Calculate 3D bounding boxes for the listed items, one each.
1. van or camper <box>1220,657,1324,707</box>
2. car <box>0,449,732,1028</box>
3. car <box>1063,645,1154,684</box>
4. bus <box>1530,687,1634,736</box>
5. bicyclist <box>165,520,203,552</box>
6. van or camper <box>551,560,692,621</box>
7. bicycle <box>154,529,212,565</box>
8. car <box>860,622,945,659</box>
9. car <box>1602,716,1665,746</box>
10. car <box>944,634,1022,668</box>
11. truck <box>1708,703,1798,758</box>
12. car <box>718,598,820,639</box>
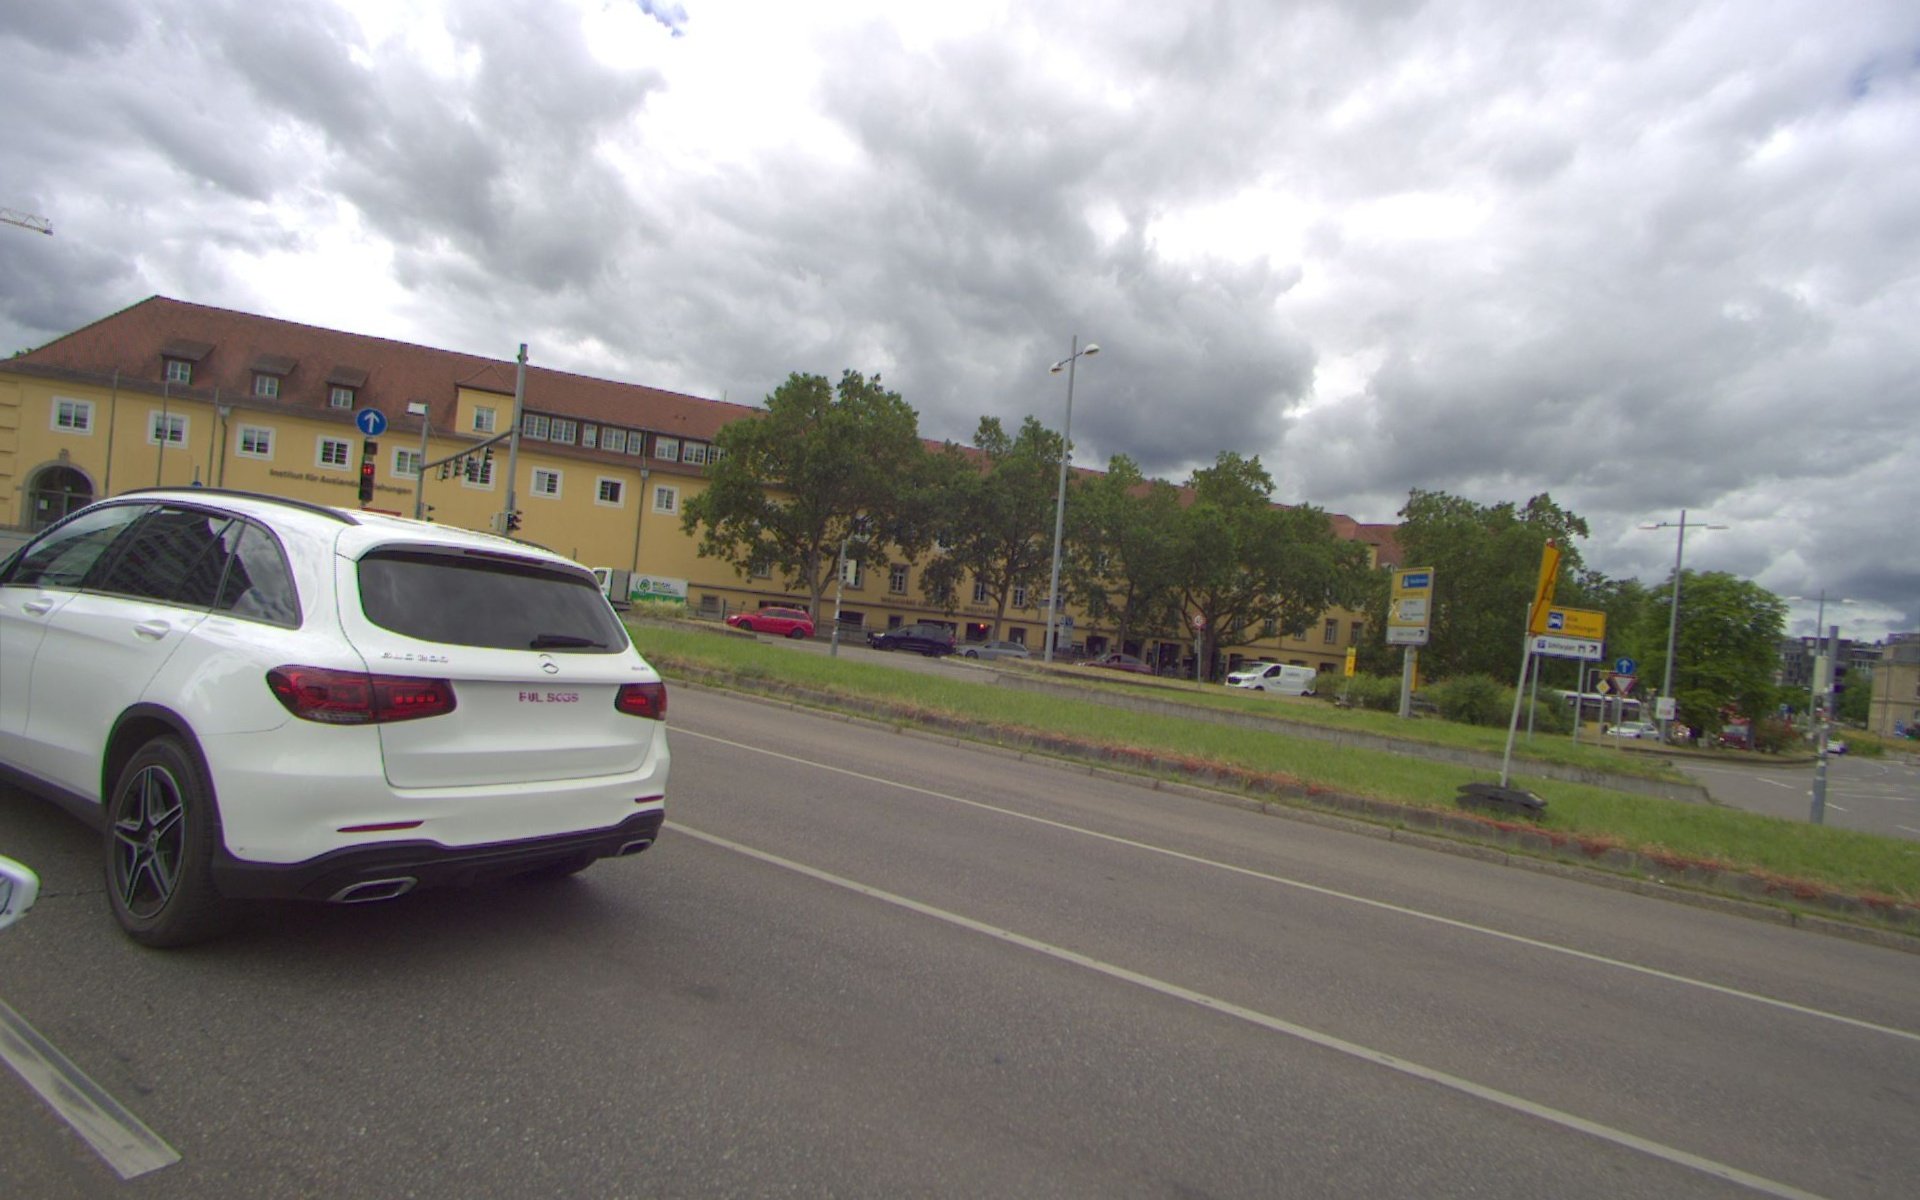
[{"bbox_3d":[15.965,4.216,51.439,5.088,1.914,1.650,8,-1,-24],"label":"van or camper"},{"bbox_3d":[-3.452,0.306,4.889,4.303,1.667,1.823,7,-1,29],"label":"car"},{"bbox_3d":[7.501,3.257,50.626,4.193,1.437,1.650,8,-1,-24],"label":"car"},{"bbox_3d":[49.951,8.994,80.641,9.563,2.884,2.552,8,-1,-29],"label":"bus"},{"bbox_3d":[-31.911,-2.629,41.392,0.713,1.172,0.925,7,-1,30],"label":"bicyclist"},{"bbox_3d":[-15.813,-0.414,47.150,5.941,2.037,2.011,8,-1,-20],"label":"van or camper"},{"bbox_3d":[-31.986,-2.171,41.398,2.423,1.172,0.925,7,-1,30],"label":"bicycle"},{"bbox_3d":[-3.021,2.116,52.689,4.038,1.430,1.650,8,-1,-24],"label":"car"},{"bbox_3d":[43.687,8.488,65.210,4.050,1.430,1.802,8,-1,-32],"label":"car"},{"bbox_3d":[1.336,2.944,57.946,4.038,1.430,1.650,8,-1,-24],"label":"car"},{"bbox_3d":[61.038,10.057,77.395,7.558,3.409,2.790,8,-1,-32],"label":"truck"},{"bbox_3d":[-9.427,0.912,49.745,4.633,1.437,1.588,8,-1,-24],"label":"car"}]
